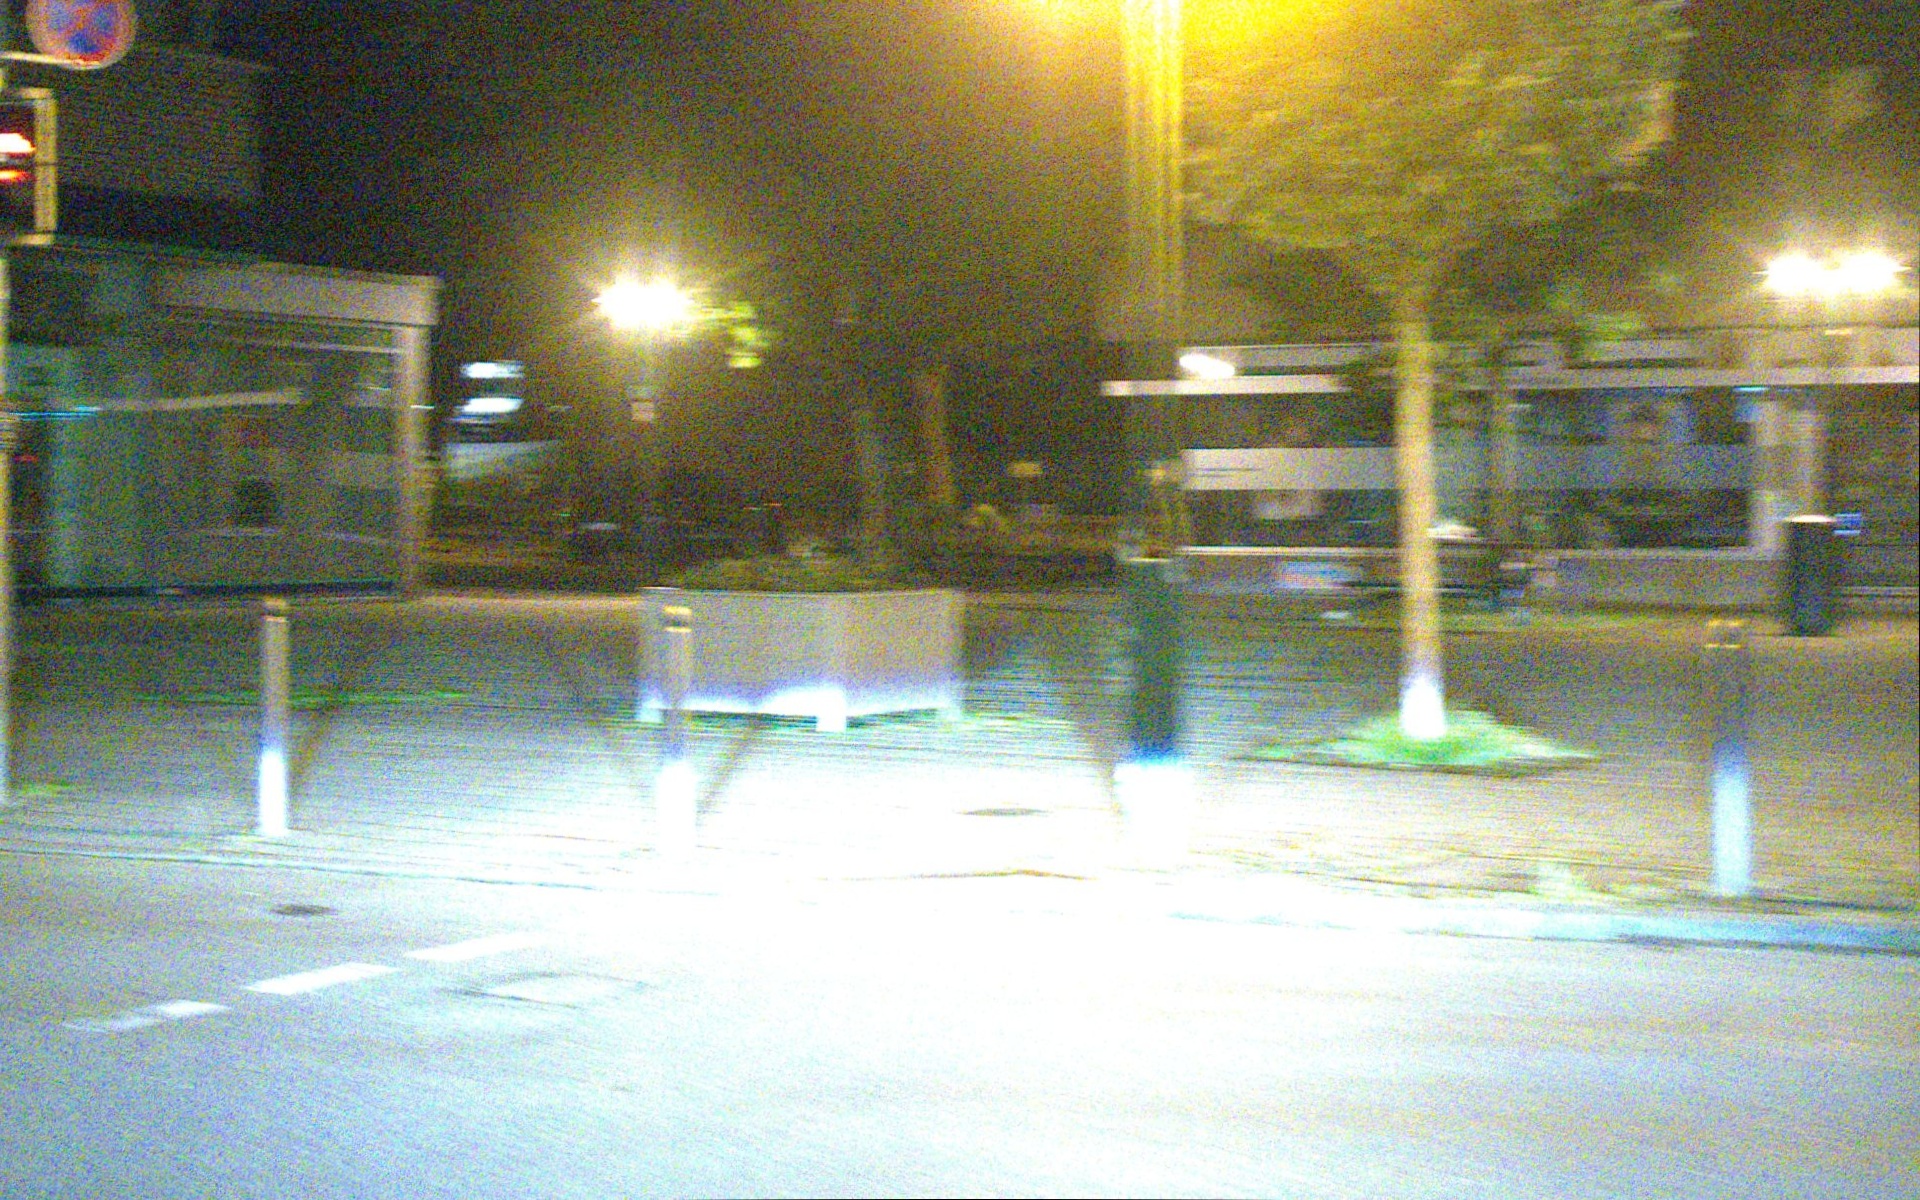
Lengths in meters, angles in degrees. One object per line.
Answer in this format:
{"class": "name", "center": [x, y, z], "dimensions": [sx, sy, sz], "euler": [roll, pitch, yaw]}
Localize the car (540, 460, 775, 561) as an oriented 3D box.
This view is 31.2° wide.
{"class": "car", "center": [-4.782, -1.456, 54.808], "dimensions": [1.921, 1.446, 3.995], "euler": [3, 4, 26]}
